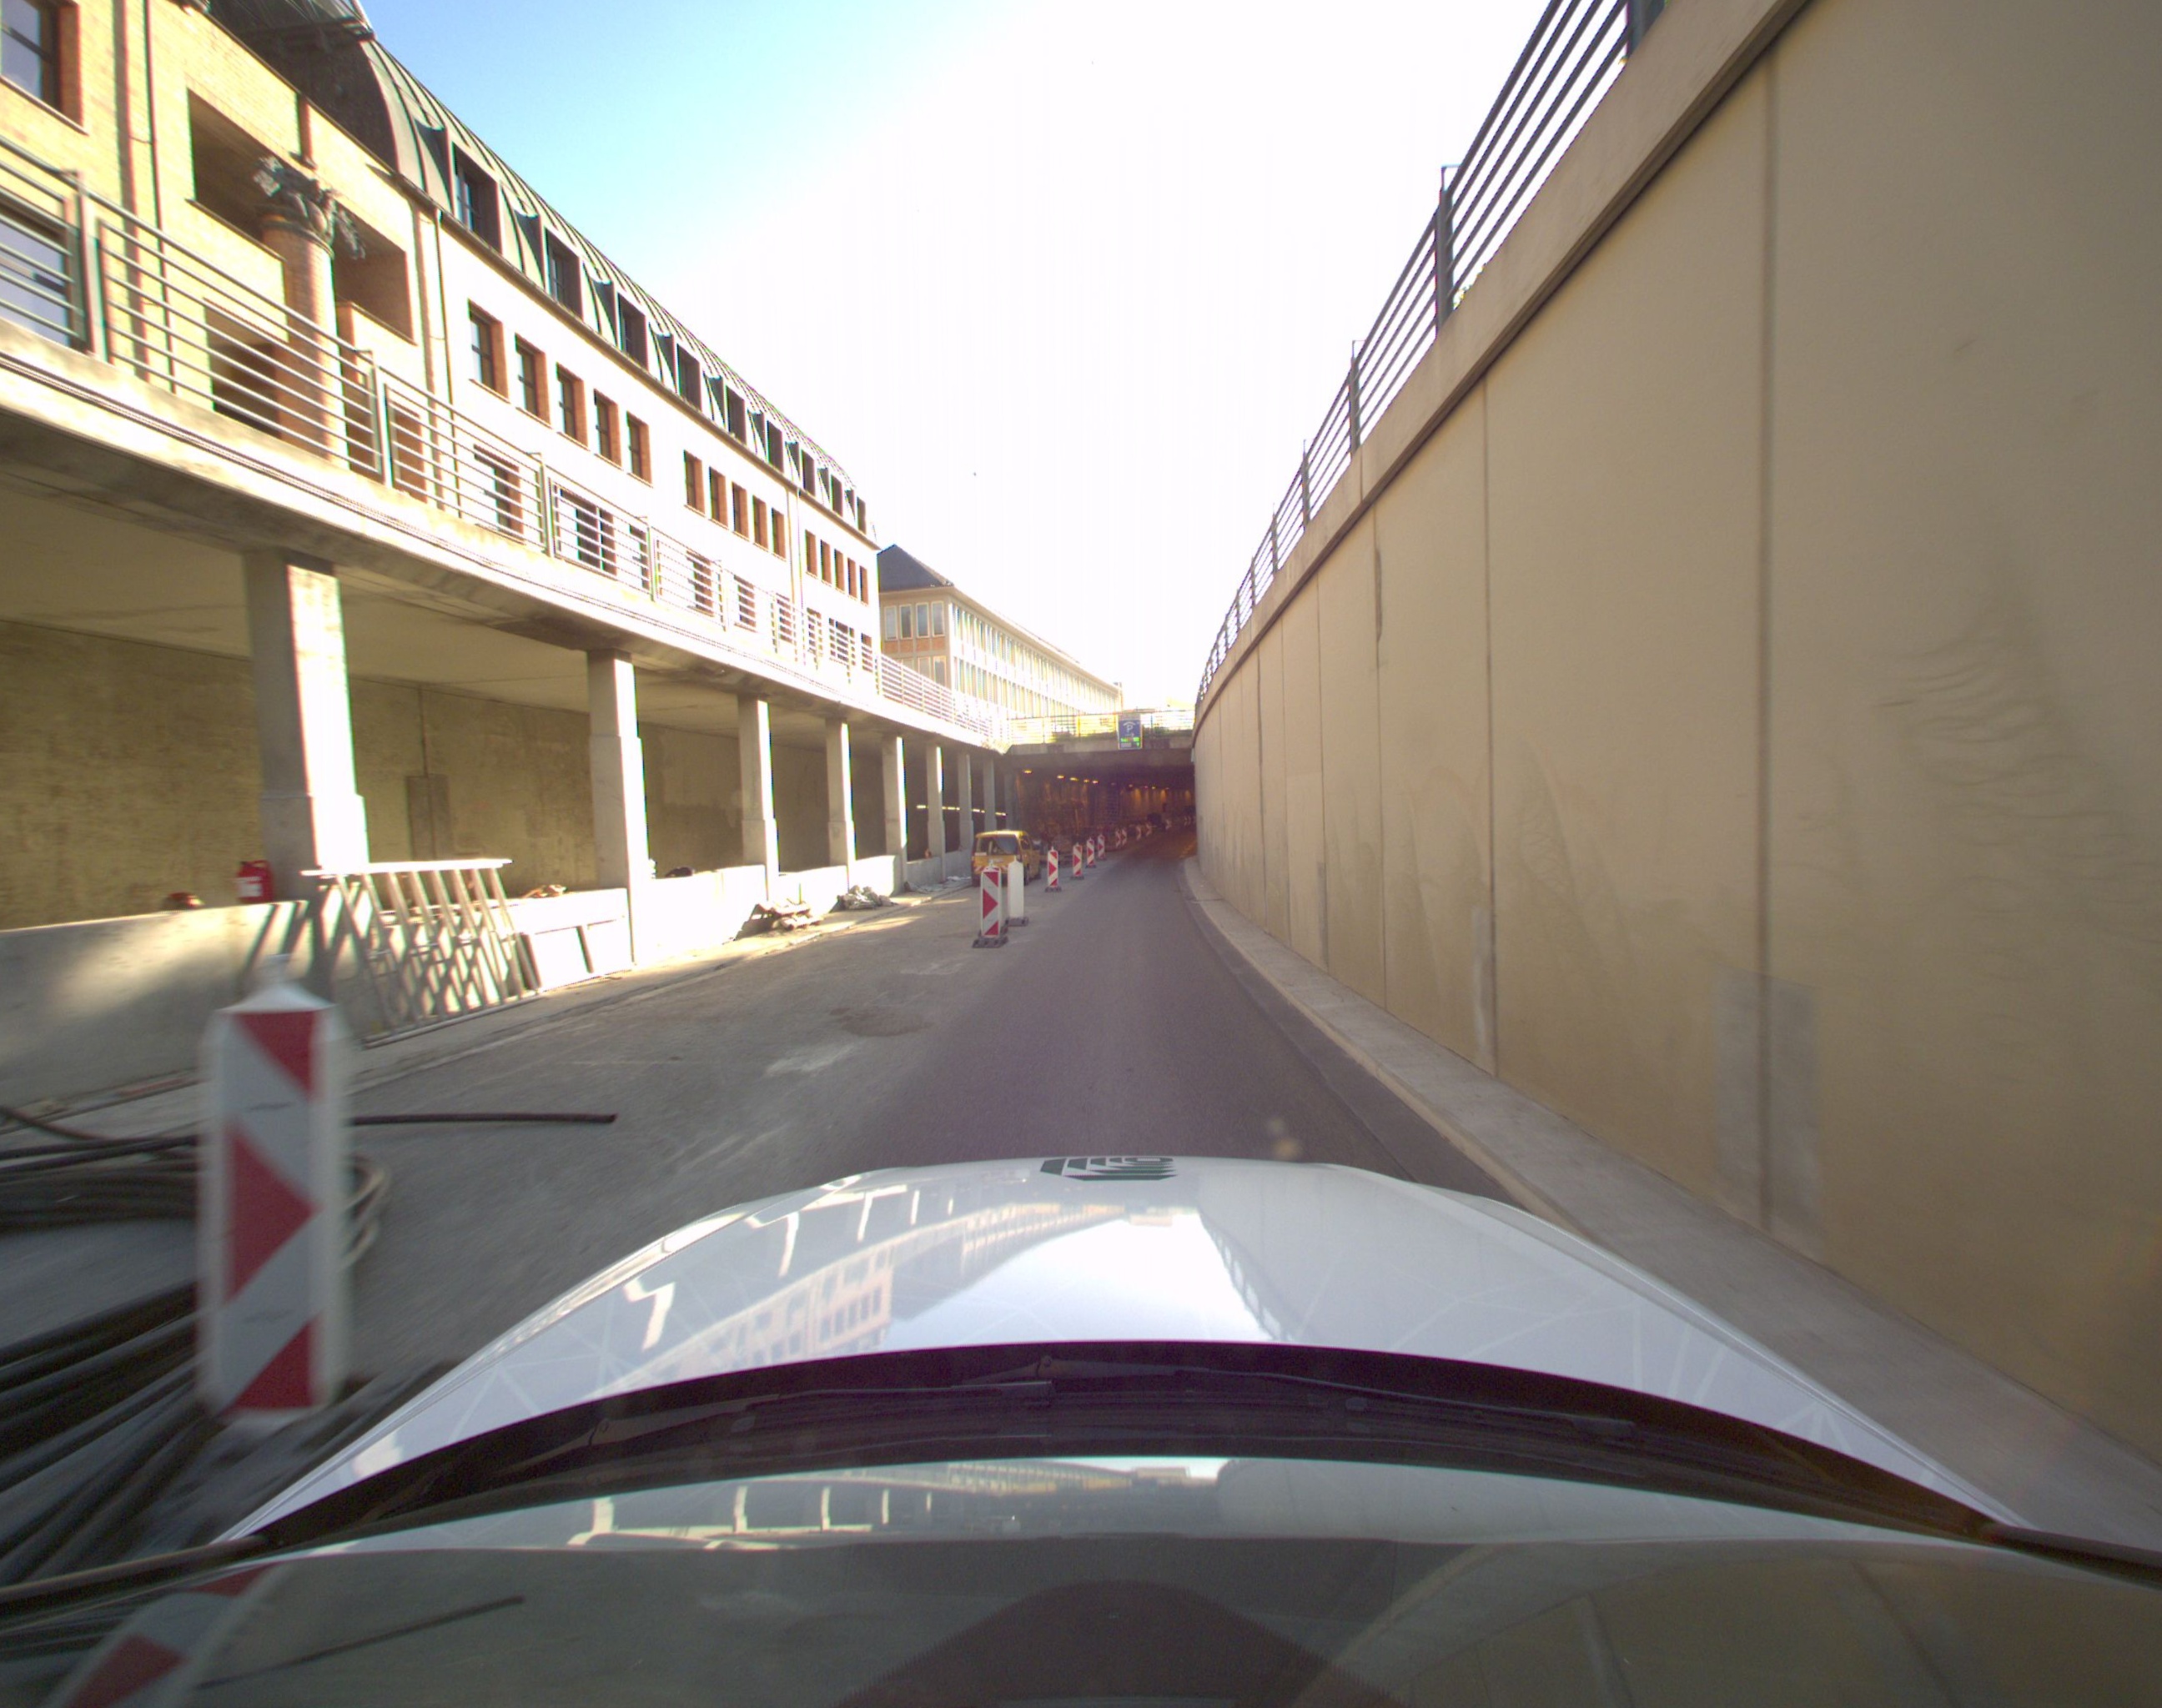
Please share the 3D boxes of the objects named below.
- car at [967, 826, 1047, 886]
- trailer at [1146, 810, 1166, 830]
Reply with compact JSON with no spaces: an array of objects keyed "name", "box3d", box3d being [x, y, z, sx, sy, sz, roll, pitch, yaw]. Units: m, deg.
[{"name":"car","box3d":[-2.432,-0.004,27.836,1.839,1.775,4.443,-1,3,6]},{"name":"trailer","box3d":[7.190,-3.288,77.849,1.570,1.797,2.951,0,3,13]}]
